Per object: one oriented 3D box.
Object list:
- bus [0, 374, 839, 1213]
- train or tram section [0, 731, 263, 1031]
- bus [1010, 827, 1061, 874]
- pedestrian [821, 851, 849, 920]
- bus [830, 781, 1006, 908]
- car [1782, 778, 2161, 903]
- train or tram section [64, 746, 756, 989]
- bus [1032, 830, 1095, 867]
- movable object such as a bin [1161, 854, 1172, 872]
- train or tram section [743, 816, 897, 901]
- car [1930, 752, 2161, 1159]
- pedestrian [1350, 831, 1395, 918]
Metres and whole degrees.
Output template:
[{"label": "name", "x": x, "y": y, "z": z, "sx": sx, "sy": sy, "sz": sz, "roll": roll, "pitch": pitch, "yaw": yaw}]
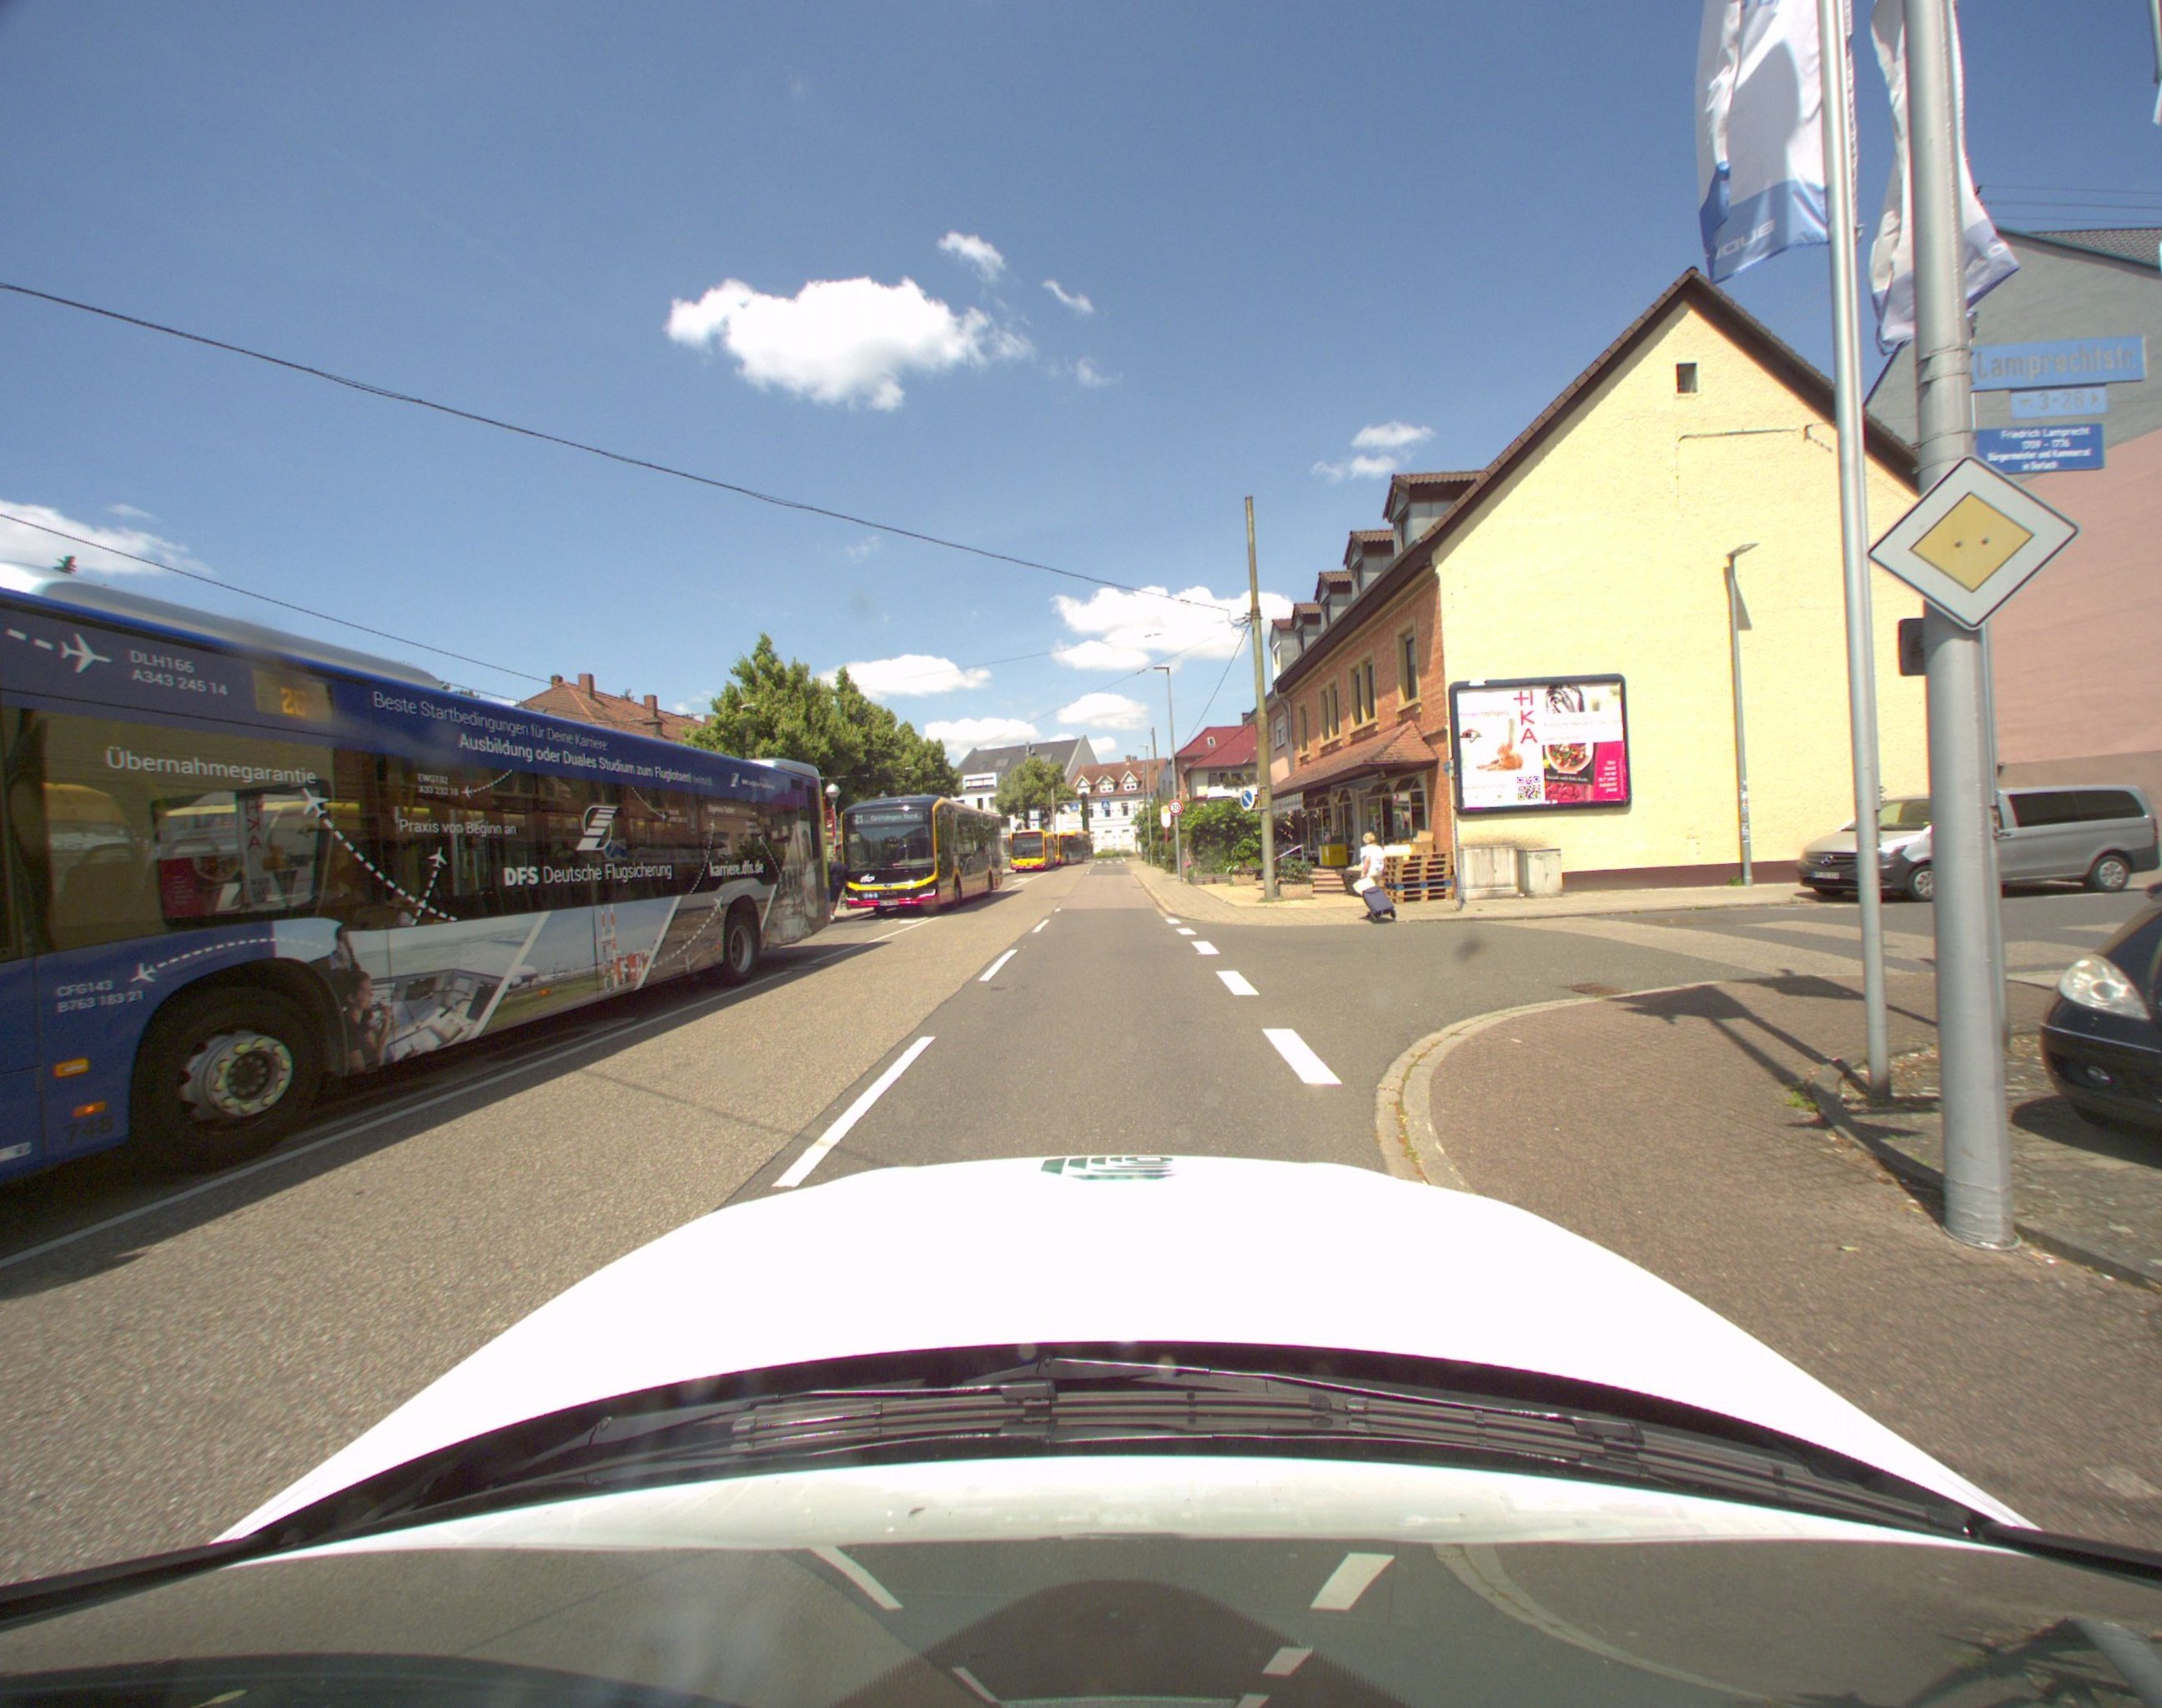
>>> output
[{"label": "bus", "x": -5.726, "y": -0.158, "z": 7.763, "sx": 2.897, "sy": 3.427, "sz": 12.043, "roll": -1, "pitch": -1, "yaw": 2}, {"label": "train or tram section", "x": -14.217, "y": 0.330, "z": 6.131, "sx": 2.952, "sy": 3.495, "sz": 12.663, "roll": -1, "pitch": 0, "yaw": 2}, {"label": "bus", "x": -3.322, "y": -0.234, "z": 63.417, "sx": 2.896, "sy": 3.248, "sz": 12.123, "roll": -1, "pitch": 0, "yaw": 2}, {"label": "pedestrian", "x": -6.382, "y": 0.809, "z": 21.142, "sx": 0.597, "sy": 1.777, "sz": 0.381, "roll": 0, "pitch": -2, "yaw": -40}, {"label": "bus", "x": -4.782, "y": -0.134, "z": 27.172, "sx": 2.886, "sy": 3.247, "sz": 12.203, "roll": -1, "pitch": -1, "yaw": 3}, {"label": "car", "x": 15.973, "y": -0.222, "z": 14.697, "sx": 5.040, "sy": 1.861, "sz": 1.907, "roll": -3, "pitch": -1, "yaw": -2}, {"label": "train or tram section", "x": -13.691, "y": 0.218, "z": 21.055, "sx": 2.952, "sy": 3.642, "sz": 17.360, "roll": -1, "pitch": 0, "yaw": 2}, {"label": "bus", "x": -1.422, "y": -0.623, "z": 76.847, "sx": 2.760, "sy": 3.208, "sz": 12.353, "roll": -1, "pitch": 1, "yaw": 14}, {"label": "movable object such as a bin", "x": 4.598, "y": 0.486, "z": 43.995, "sx": 0.405, "sy": 0.907, "sz": 0.729, "roll": -6, "pitch": -1, "yaw": -1}, {"label": "train or tram section", "x": -12.852, "y": 0.204, "z": 42.189, "sx": 2.952, "sy": 3.642, "sz": 14.001, "roll": -1, "pitch": 0, "yaw": 2}, {"label": "car", "x": 6.016, "y": 0.294, "z": 3.224, "sx": 3.878, "sy": 1.543, "sz": 1.835, "roll": -3, "pitch": -1, "yaw": -11}, {"label": "pedestrian", "x": 5.751, "y": 0.404, "z": 16.048, "sx": 0.699, "sy": 1.641, "sz": 0.663, "roll": -3, "pitch": 1, "yaw": 22}]
